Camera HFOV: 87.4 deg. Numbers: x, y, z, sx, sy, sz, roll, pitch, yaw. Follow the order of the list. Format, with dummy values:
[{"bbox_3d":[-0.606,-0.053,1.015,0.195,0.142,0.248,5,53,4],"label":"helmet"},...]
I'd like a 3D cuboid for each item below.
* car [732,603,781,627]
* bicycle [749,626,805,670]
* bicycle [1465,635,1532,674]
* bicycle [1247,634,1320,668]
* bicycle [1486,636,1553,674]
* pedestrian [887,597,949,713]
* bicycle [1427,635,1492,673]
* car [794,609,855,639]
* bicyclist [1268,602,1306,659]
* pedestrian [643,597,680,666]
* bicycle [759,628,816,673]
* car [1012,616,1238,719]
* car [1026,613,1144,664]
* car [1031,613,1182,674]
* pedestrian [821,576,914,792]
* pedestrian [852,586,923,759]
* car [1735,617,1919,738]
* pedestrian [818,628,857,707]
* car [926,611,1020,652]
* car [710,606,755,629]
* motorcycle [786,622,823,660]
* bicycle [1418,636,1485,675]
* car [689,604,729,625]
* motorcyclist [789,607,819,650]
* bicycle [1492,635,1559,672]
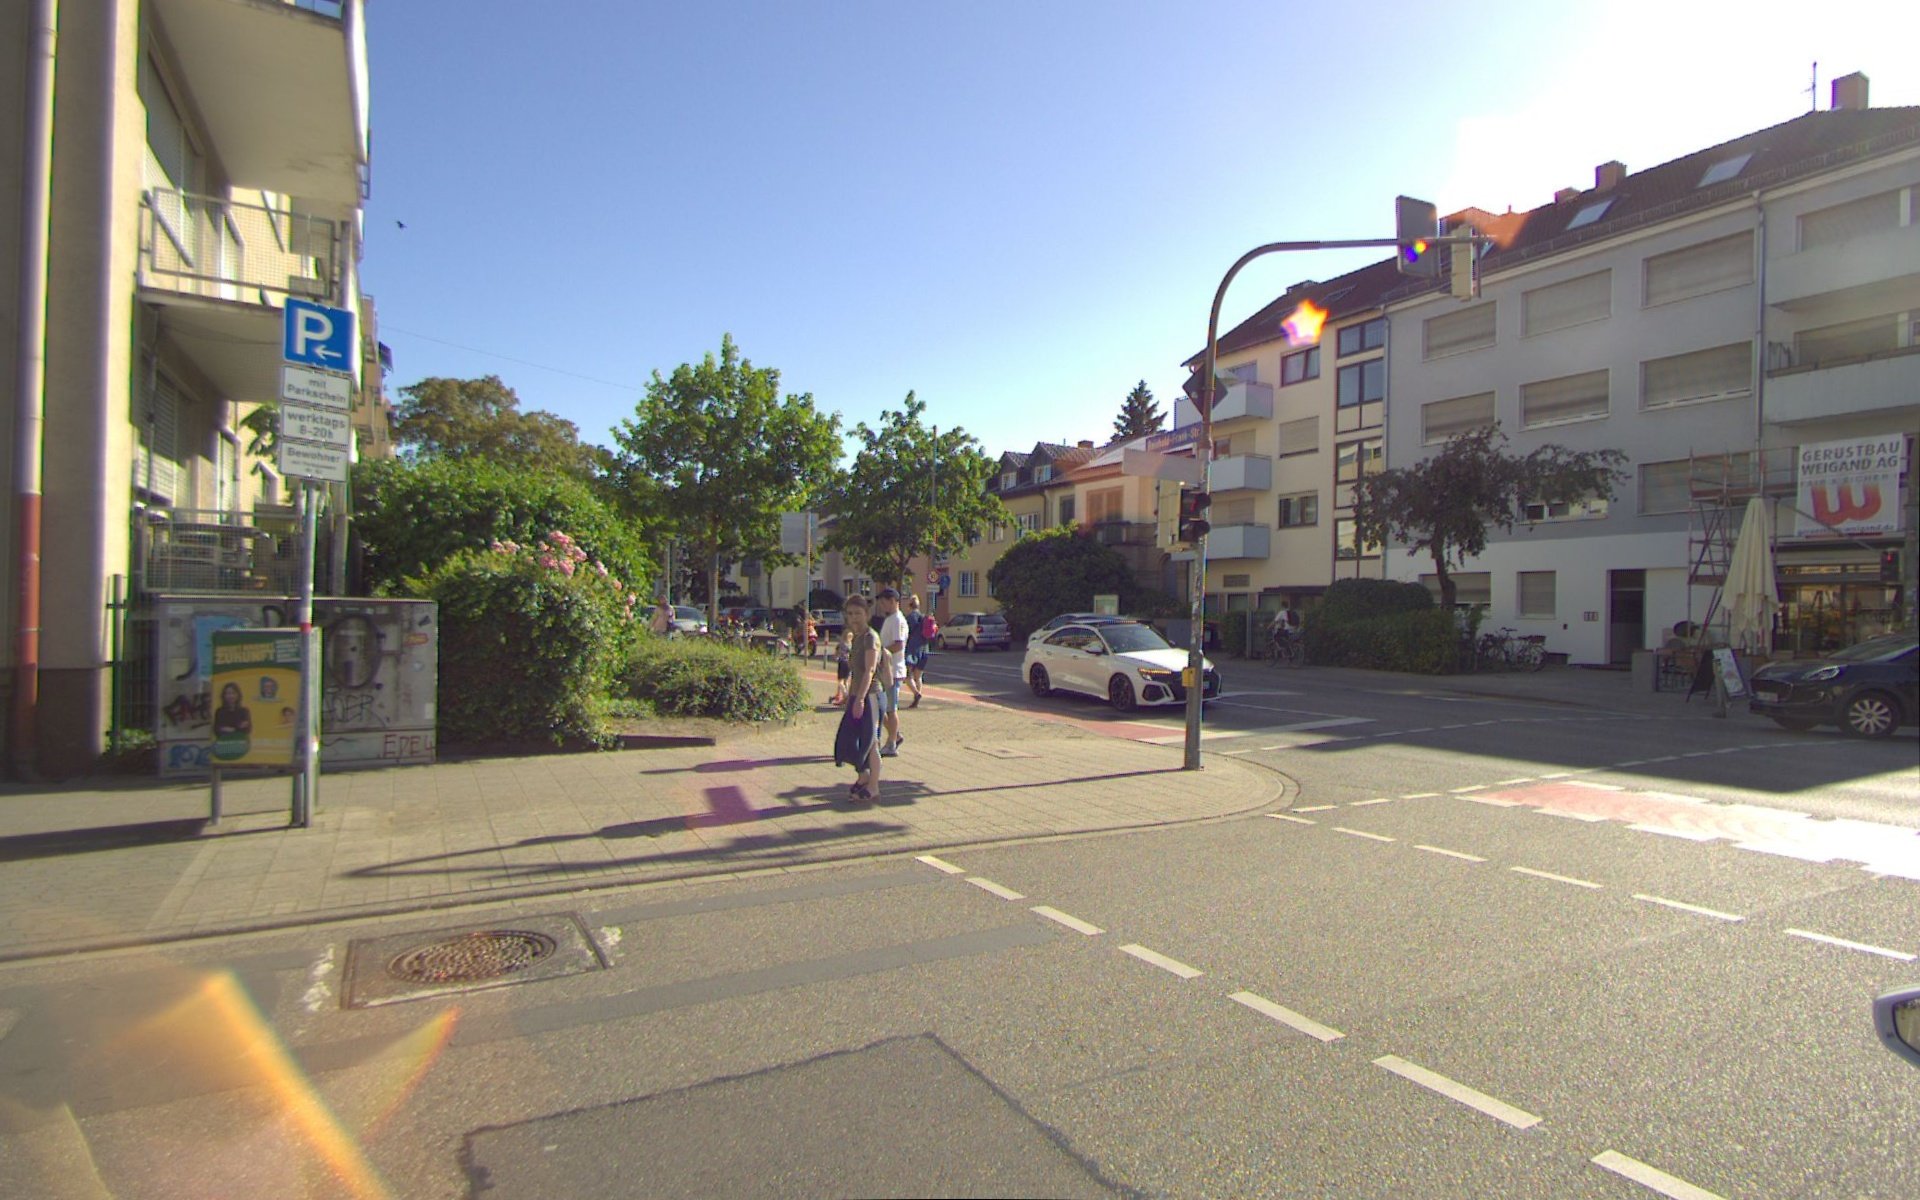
[{"bbox_3d":[-13.058,0.951,64.339,1.893,1.449,3.969,-2,1,-30],"label":"car"},{"bbox_3d":[-5.239,1.372,28.805,1.550,1.177,0.447,1,14,-7],"label":"bicycle"},{"bbox_3d":[14.282,1.434,26.682,0.506,0.952,1.583,1,-1,-27],"label":"bicycle"},{"bbox_3d":[9.022,1.413,28.079,0.548,0.845,2.114,1,0,-30],"label":"bicycle"},{"bbox_3d":[15.062,1.459,27.078,0.506,0.952,1.583,1,-1,-27],"label":"bicycle"},{"bbox_3d":[-0.651,0.821,15.416,0.568,1.705,0.961,1,0,-28],"label":"pedestrian"},{"bbox_3d":[13.333,1.438,26.863,0.506,0.952,1.583,1,-1,-27],"label":"bicycle"},{"bbox_3d":[-7.250,1.231,53.519,1.893,1.449,3.969,-2,1,-30],"label":"car"},{"bbox_3d":[9.108,0.839,27.994,0.549,1.569,0.808,1,0,-30],"label":"bicyclist"},{"bbox_3d":[-7.117,0.738,23.947,0.688,1.617,0.642,1,0,-31],"label":"pedestrian"},{"bbox_3d":[-4.855,1.428,28.268,1.550,1.177,0.447,1,14,-7],"label":"bicycle"},{"bbox_3d":[2.839,1.102,18.266,1.909,1.455,4.238,-3,2,-27],"label":"car"},{"bbox_3d":[4.046,1.205,33.048,1.893,1.539,3.969,0,0,-30],"label":"car"},{"bbox_3d":[3.834,1.114,26.919,1.822,1.453,4.142,1,-1,-30],"label":"car"},{"bbox_3d":[-0.727,0.630,7.806,0.555,1.602,0.530,1,0,-25],"label":"pedestrian"},{"bbox_3d":[-0.751,0.723,10.239,0.657,1.711,0.574,1,0,-9],"label":"pedestrian"},{"bbox_3d":[13.555,1.077,14.054,4.006,1.586,1.598,1,-2,9],"label":"car"},{"bbox_3d":[-1.865,1.017,15.253,0.383,1.161,0.527,1,0,-33],"label":"pedestrian"},{"bbox_3d":[0.440,1.184,39.037,1.893,1.449,3.969,-2,1,-30],"label":"car"},{"bbox_3d":[-15.491,1.159,68.349,1.893,1.449,3.969,-2,1,-30],"label":"car"},{"bbox_3d":[-5.066,1.319,32.630,0.739,1.149,1.672,-1,0,-26],"label":"motorcycle"},{"bbox_3d":[12.894,1.435,26.392,0.506,0.952,1.583,1,-1,-27],"label":"bicycle"},{"bbox_3d":[-18.528,1.057,74.066,1.893,1.449,3.969,-2,1,-30],"label":"car"},{"bbox_3d":[-5.072,0.909,32.646,0.747,1.374,0.787,-1,0,-27],"label":"motorcyclist"},{"bbox_3d":[15.507,1.446,27.582,0.506,0.952,1.583,1,-1,-27],"label":"bicycle"}]
